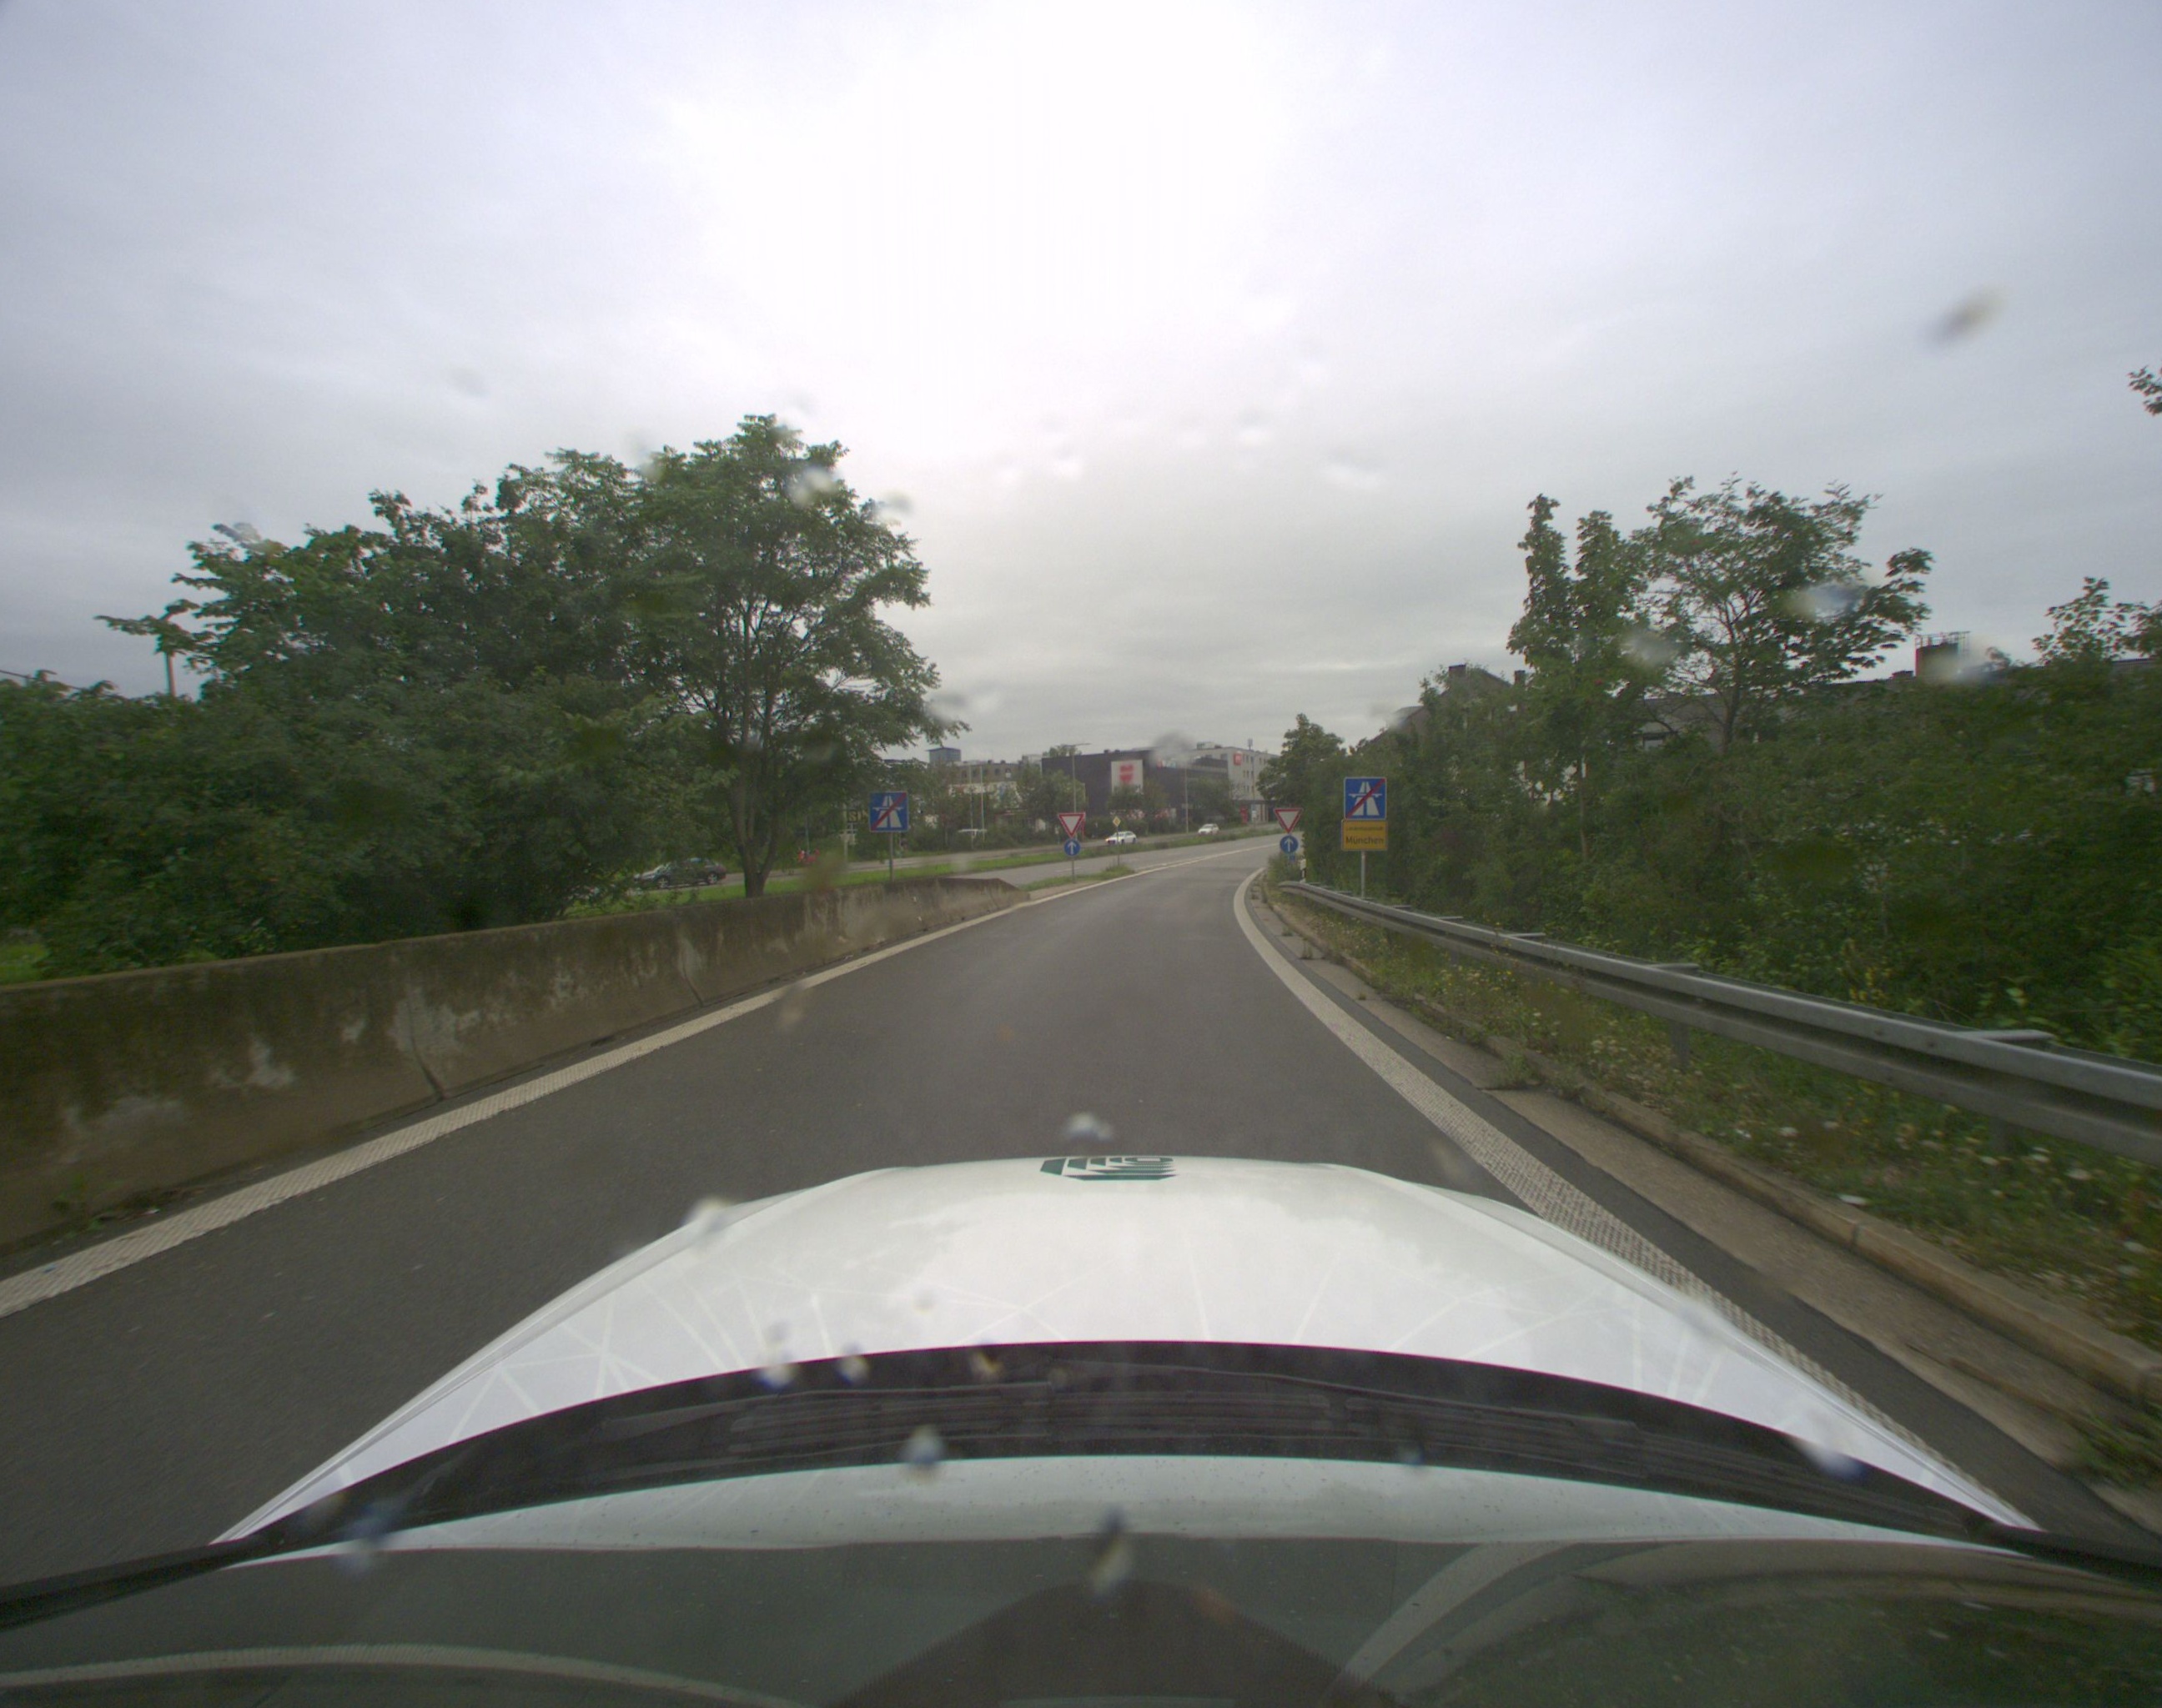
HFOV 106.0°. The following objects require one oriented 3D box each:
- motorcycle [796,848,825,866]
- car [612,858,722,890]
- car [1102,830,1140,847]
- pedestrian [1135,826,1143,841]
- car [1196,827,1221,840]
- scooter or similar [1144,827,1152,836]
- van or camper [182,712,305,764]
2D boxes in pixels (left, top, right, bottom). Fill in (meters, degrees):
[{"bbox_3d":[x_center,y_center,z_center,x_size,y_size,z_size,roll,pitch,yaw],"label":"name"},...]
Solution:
[{"bbox_3d":[-19.364,0.178,58.328,0.528,1.176,2.209,-1,3,28],"label":"motorcycle"},{"bbox_3d":[-21.682,1.022,42.845,1.950,1.396,4.847,-2,1,29],"label":"car"},{"bbox_3d":[4.418,-1.710,89.009,1.975,1.572,5.151,-1,2,29],"label":"car"},{"bbox_3d":[7.571,-2.685,106.543,0.616,1.829,0.822,-1,3,29],"label":"pedestrian"},{"bbox_3d":[17.746,-2.845,112.963,1.975,1.572,4.603,-1,2,29],"label":"car"},{"bbox_3d":[9.072,-3.079,110.246,0.441,1.227,1.396,-1,3,27],"label":"scooter or similar"},{"bbox_3d":[-49.897,-6.862,48.768,2.645,2.245,6.003,-2,1,-20],"label":"van or camper"}]
